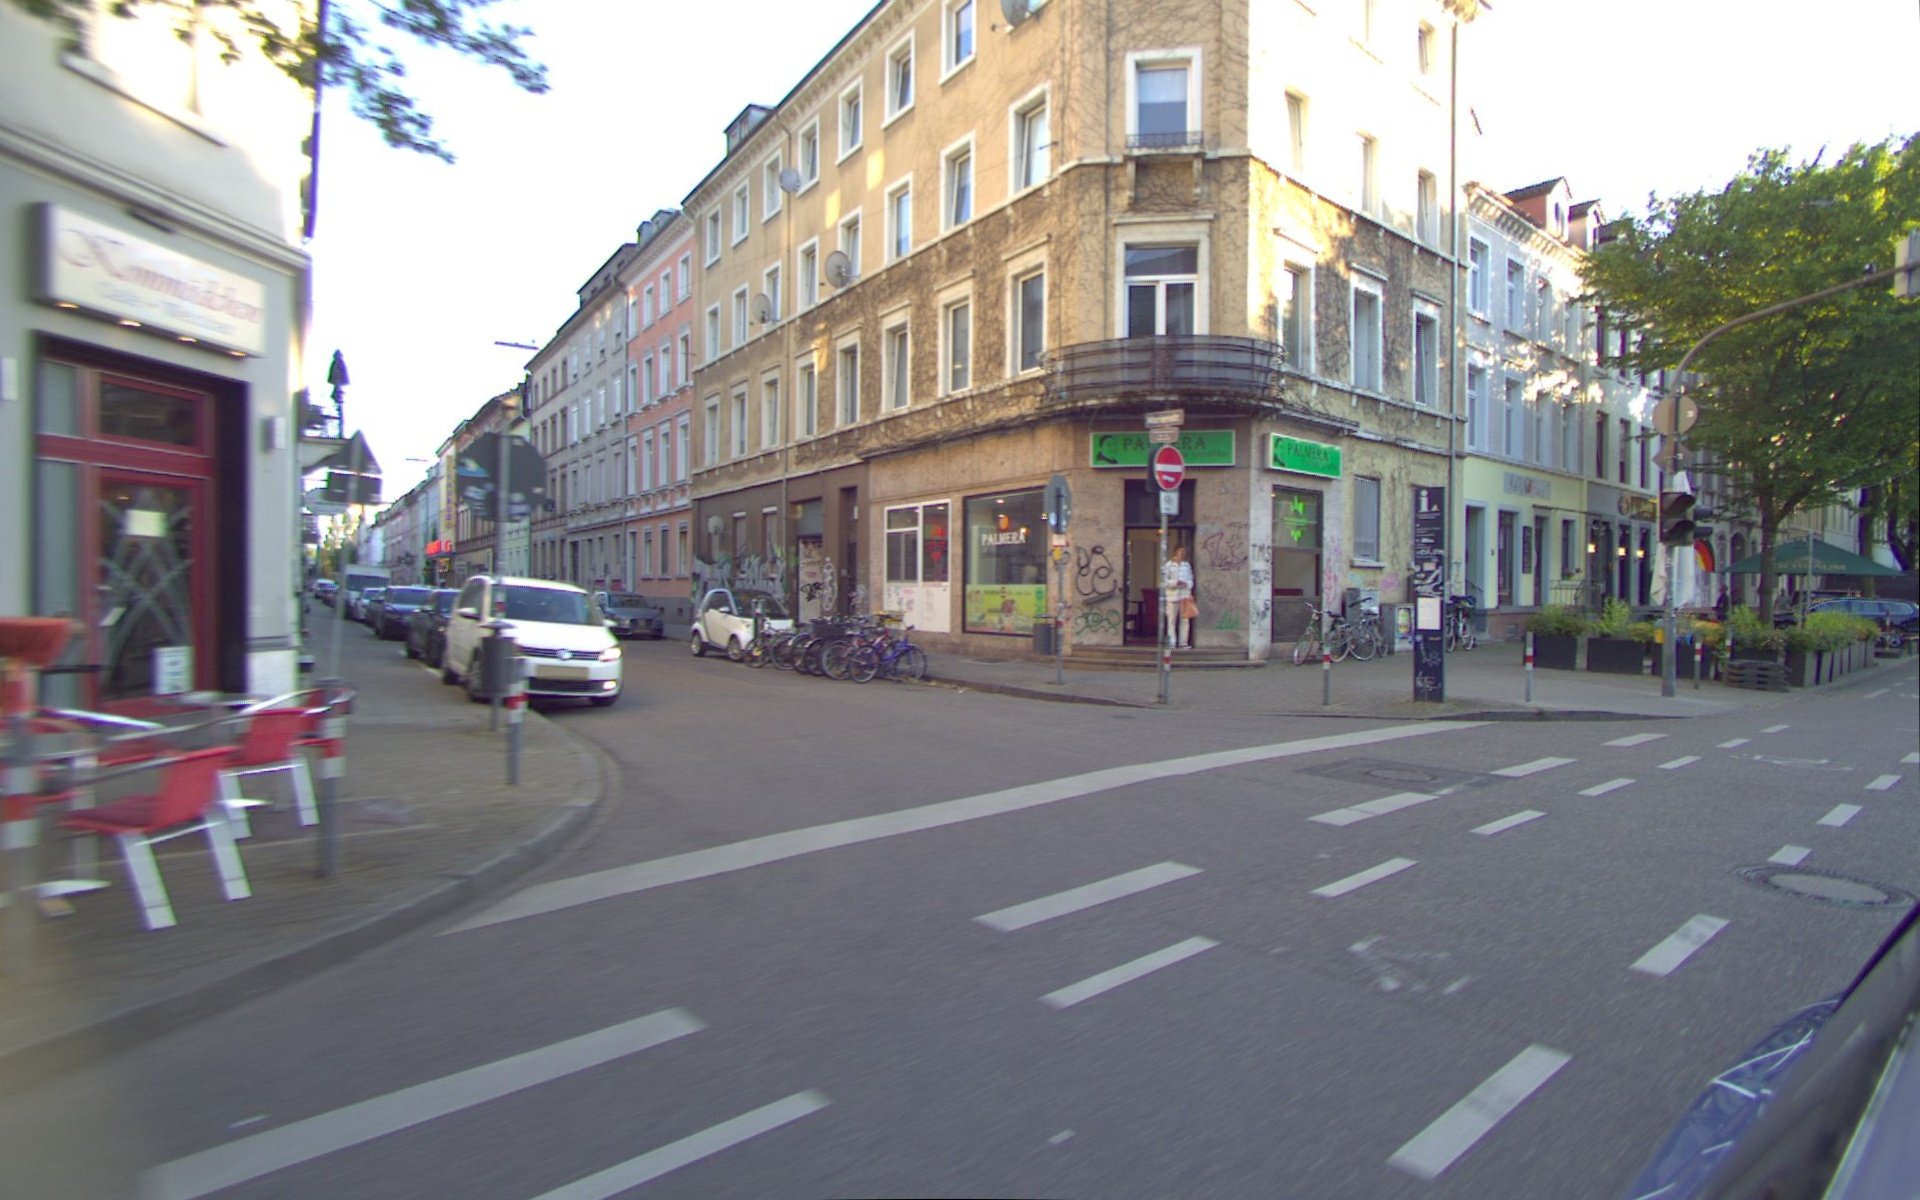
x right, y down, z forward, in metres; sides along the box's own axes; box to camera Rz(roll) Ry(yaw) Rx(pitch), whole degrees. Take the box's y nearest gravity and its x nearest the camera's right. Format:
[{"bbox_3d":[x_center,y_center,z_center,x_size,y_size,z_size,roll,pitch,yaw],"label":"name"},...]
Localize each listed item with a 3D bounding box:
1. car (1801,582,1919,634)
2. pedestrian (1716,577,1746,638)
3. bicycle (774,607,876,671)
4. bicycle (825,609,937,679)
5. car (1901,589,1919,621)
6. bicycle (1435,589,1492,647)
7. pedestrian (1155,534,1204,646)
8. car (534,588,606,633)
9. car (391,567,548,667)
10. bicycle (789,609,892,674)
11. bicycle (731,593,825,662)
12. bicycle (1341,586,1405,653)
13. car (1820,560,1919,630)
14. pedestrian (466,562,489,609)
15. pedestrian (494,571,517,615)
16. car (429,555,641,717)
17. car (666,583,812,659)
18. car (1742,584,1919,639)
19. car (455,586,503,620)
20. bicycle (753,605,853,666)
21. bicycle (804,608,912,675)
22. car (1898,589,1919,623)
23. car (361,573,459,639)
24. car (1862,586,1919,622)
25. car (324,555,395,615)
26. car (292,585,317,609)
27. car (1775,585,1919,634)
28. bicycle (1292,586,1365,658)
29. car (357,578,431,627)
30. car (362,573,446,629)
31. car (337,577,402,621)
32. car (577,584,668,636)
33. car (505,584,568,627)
[{"bbox_3d":[32.804,0.275,36.185,1.692,1.720,3.989,1,1,-41],"label":"car"},{"bbox_3d":[22.973,0.215,30.164,0.633,1.774,0.499,0,2,-36],"label":"pedestrian"},{"bbox_3d":[-2.465,0.713,18.626,1.855,1.114,0.509,2,-2,-41],"label":"bicycle"},{"bbox_3d":[-1.319,0.745,17.157,1.855,1.114,0.659,2,-2,-41],"label":"bicycle"},{"bbox_3d":[51.158,0.331,51.944,3.975,1.595,1.698,3,1,38],"label":"car"},{"bbox_3d":[11.025,0.370,22.131,1.752,1.226,0.470,0,0,-41],"label":"bicycle"},{"bbox_3d":[3.765,-0.173,17.364,0.600,1.855,0.560,3,0,-3],"label":"pedestrian"},{"bbox_3d":[-14.290,0.359,36.961,1.630,1.520,3.581,3,-1,-34],"label":"car"},{"bbox_3d":[-9.390,0.283,19.195,1.873,1.596,4.060,-4,2,-37],"label":"car"},{"bbox_3d":[-2.126,0.741,18.186,1.855,1.114,0.509,2,-2,-41],"label":"bicycle"},{"bbox_3d":[-3.570,0.541,19.986,0.508,1.298,1.858,0,-2,43],"label":"bicycle"},{"bbox_3d":[7.878,0.356,19.282,1.558,1.226,0.470,0,0,-41],"label":"bicycle"},{"bbox_3d":[37.693,-0.178,40.097,5.196,2.653,1.905,2,2,34],"label":"car"},{"bbox_3d":[-28.274,-0.868,59.297,0.968,2.724,1.209,0,0,-37],"label":"pedestrian"},{"bbox_3d":[-26.525,-0.416,59.083,0.968,2.507,1.209,0,0,-37],"label":"pedestrian"},{"bbox_3d":[-6.014,0.413,14.008,1.870,1.864,4.336,0,0,-35],"label":"car"},{"bbox_3d":[-5.001,0.424,22.525,1.748,1.536,4.063,2,-1,-35],"label":"car"},{"bbox_3d":[27.885,0.344,32.048,4.586,1.536,1.796,2,1,24],"label":"car"},{"bbox_3d":[-24.876,0.134,52.267,1.630,1.616,3.581,3,-1,-34],"label":"car"},{"bbox_3d":[-2.984,0.674,19.350,1.855,1.114,0.537,2,-2,-41],"label":"bicycle"},{"bbox_3d":[-1.764,0.722,17.714,1.855,1.114,0.609,2,-2,-41],"label":"bicycle"},{"bbox_3d":[47.487,0.352,48.153,1.691,1.595,3.992,1,1,-39],"label":"car"},{"bbox_3d":[-15.306,0.143,28.076,1.872,1.596,4.062,-4,2,-35],"label":"car"},{"bbox_3d":[44.104,0.216,46.295,1.691,1.618,3.992,1,1,-39],"label":"car"},{"bbox_3d":[-27.930,-0.671,46.984,2.337,2.624,5.034,0,0,-37],"label":"car"},{"bbox_3d":[-90.210,-0.380,139.273,2.552,3.027,7.210,-4,2,-34],"label":"car"},{"bbox_3d":[29.967,0.300,33.792,4.093,1.471,1.788,3,1,35],"label":"car"},{"bbox_3d":[6.515,0.372,17.874,1.558,1.226,0.524,0,0,-41],"label":"bicycle"},{"bbox_3d":[-20.619,0.069,36.816,1.872,1.596,4.062,-4,2,-35],"label":"car"},{"bbox_3d":[-18.029,0.035,32.722,1.872,1.596,4.062,-4,2,-35],"label":"car"},{"bbox_3d":[-24.129,-0.048,41.281,1.872,1.596,4.062,-4,2,-35],"label":"car"},{"bbox_3d":[-10.341,0.288,30.876,1.630,1.462,3.675,3,-1,-34],"label":"car"},{"bbox_3d":[-17.263,0.198,41.149,1.630,1.616,3.581,3,-1,-34],"label":"car"}]
